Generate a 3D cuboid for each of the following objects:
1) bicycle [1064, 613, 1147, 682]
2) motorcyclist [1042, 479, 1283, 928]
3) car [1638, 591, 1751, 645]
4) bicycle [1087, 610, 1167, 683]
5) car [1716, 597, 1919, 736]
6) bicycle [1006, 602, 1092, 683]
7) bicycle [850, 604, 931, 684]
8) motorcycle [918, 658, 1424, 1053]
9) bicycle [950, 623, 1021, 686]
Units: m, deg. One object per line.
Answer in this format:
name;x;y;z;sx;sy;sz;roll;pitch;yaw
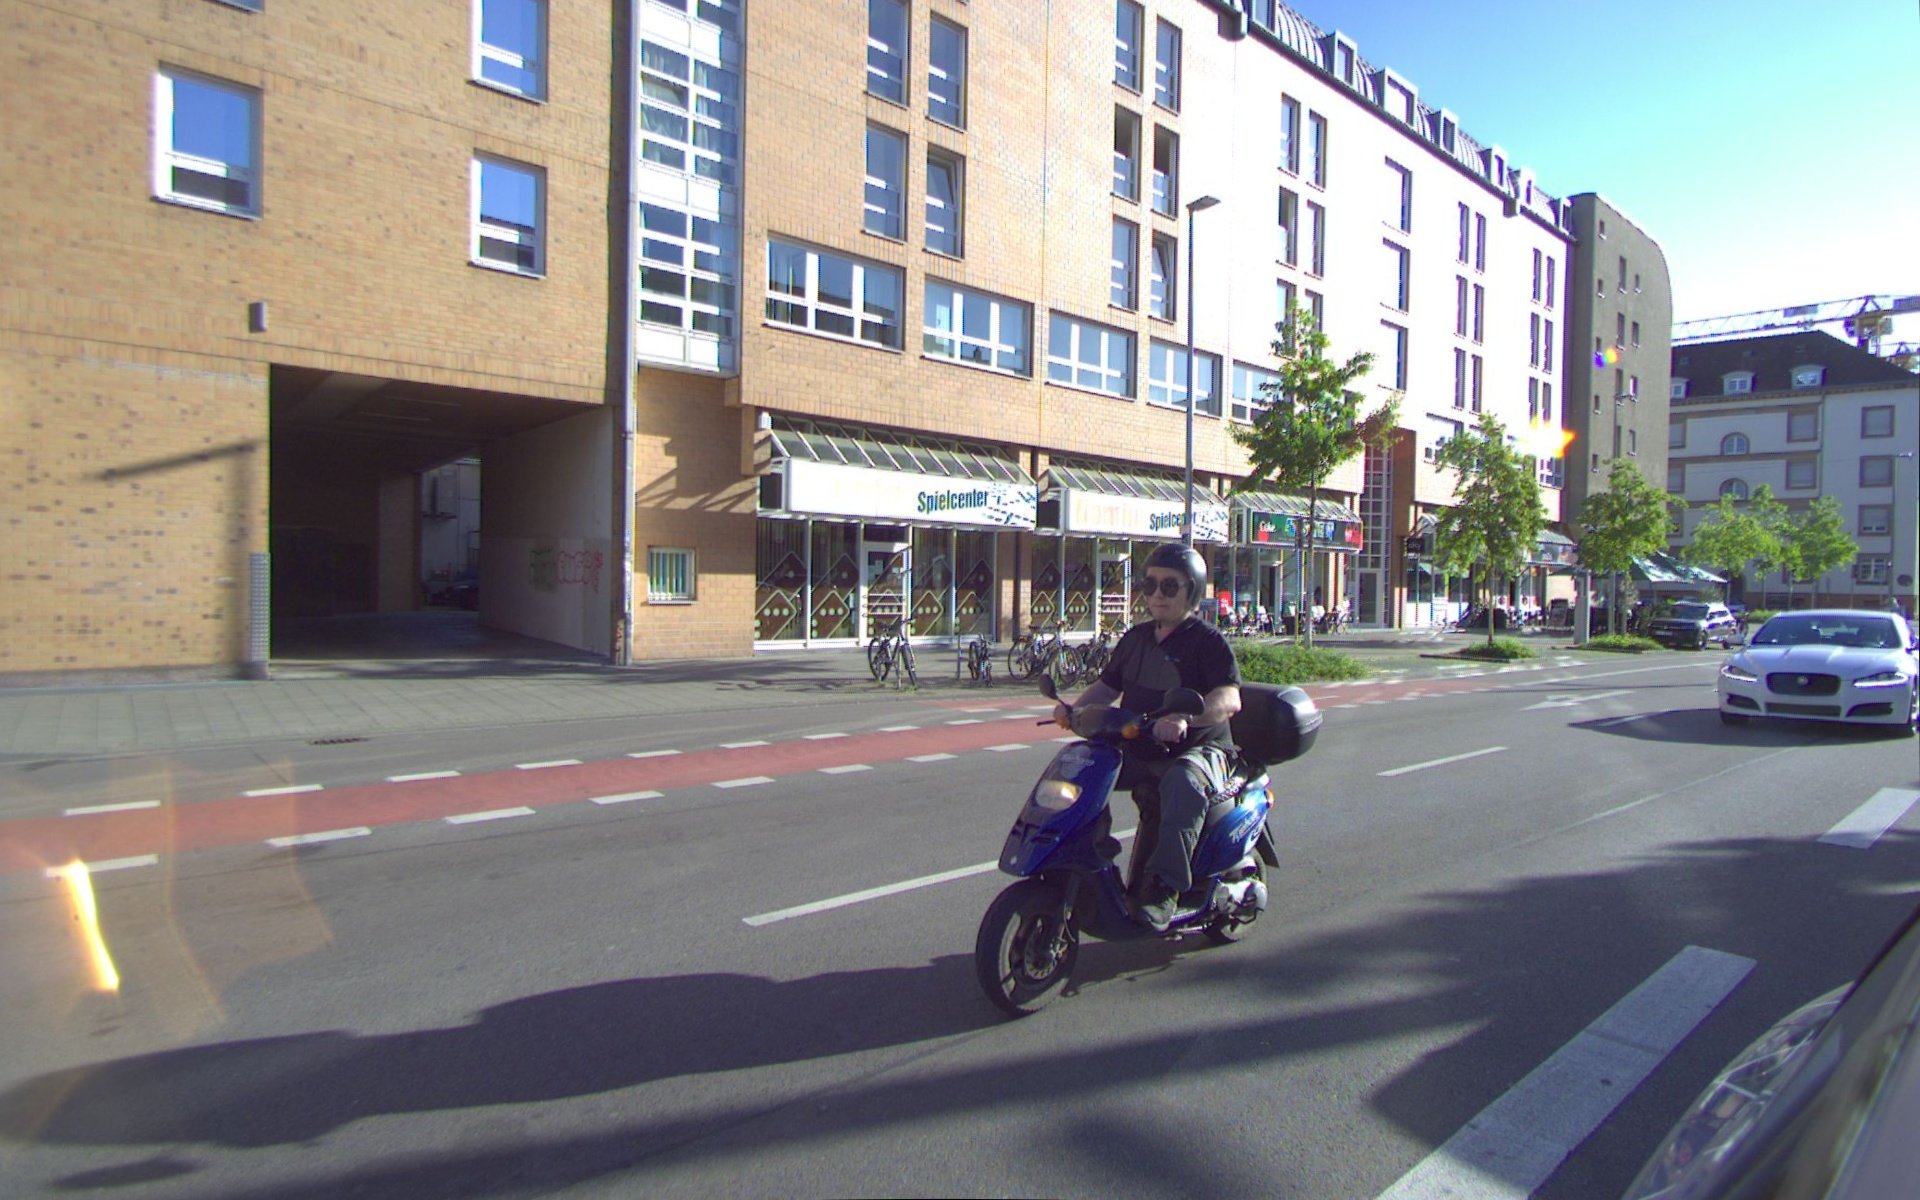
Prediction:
bicycle;2.486;0.795;17.534;0.440;0.997;1.843;0;3;-26
motorcyclist;0.800;0.363;4.077;0.520;1.600;0.797;-1;0;-41
car;25.521;0.607;35.128;3.921;1.659;1.782;0;3;-33
bicycle;2.900;0.782;17.735;0.343;1.069;1.843;0;3;-26
car;11.381;0.711;13.039;4.376;1.448;1.806;0;1;-42
bicycle;1.472;0.678;17.040;0.553;1.177;1.843;0;3;-26
bicycle;-1.134;0.671;16.080;0.423;1.089;1.776;-1;4;-35
motorcycle;0.990;0.853;4.206;2.334;1.063;0.805;-1;1;-41
bicycle;0.392;0.868;16.610;0.359;0.842;1.779;0;3;-26
